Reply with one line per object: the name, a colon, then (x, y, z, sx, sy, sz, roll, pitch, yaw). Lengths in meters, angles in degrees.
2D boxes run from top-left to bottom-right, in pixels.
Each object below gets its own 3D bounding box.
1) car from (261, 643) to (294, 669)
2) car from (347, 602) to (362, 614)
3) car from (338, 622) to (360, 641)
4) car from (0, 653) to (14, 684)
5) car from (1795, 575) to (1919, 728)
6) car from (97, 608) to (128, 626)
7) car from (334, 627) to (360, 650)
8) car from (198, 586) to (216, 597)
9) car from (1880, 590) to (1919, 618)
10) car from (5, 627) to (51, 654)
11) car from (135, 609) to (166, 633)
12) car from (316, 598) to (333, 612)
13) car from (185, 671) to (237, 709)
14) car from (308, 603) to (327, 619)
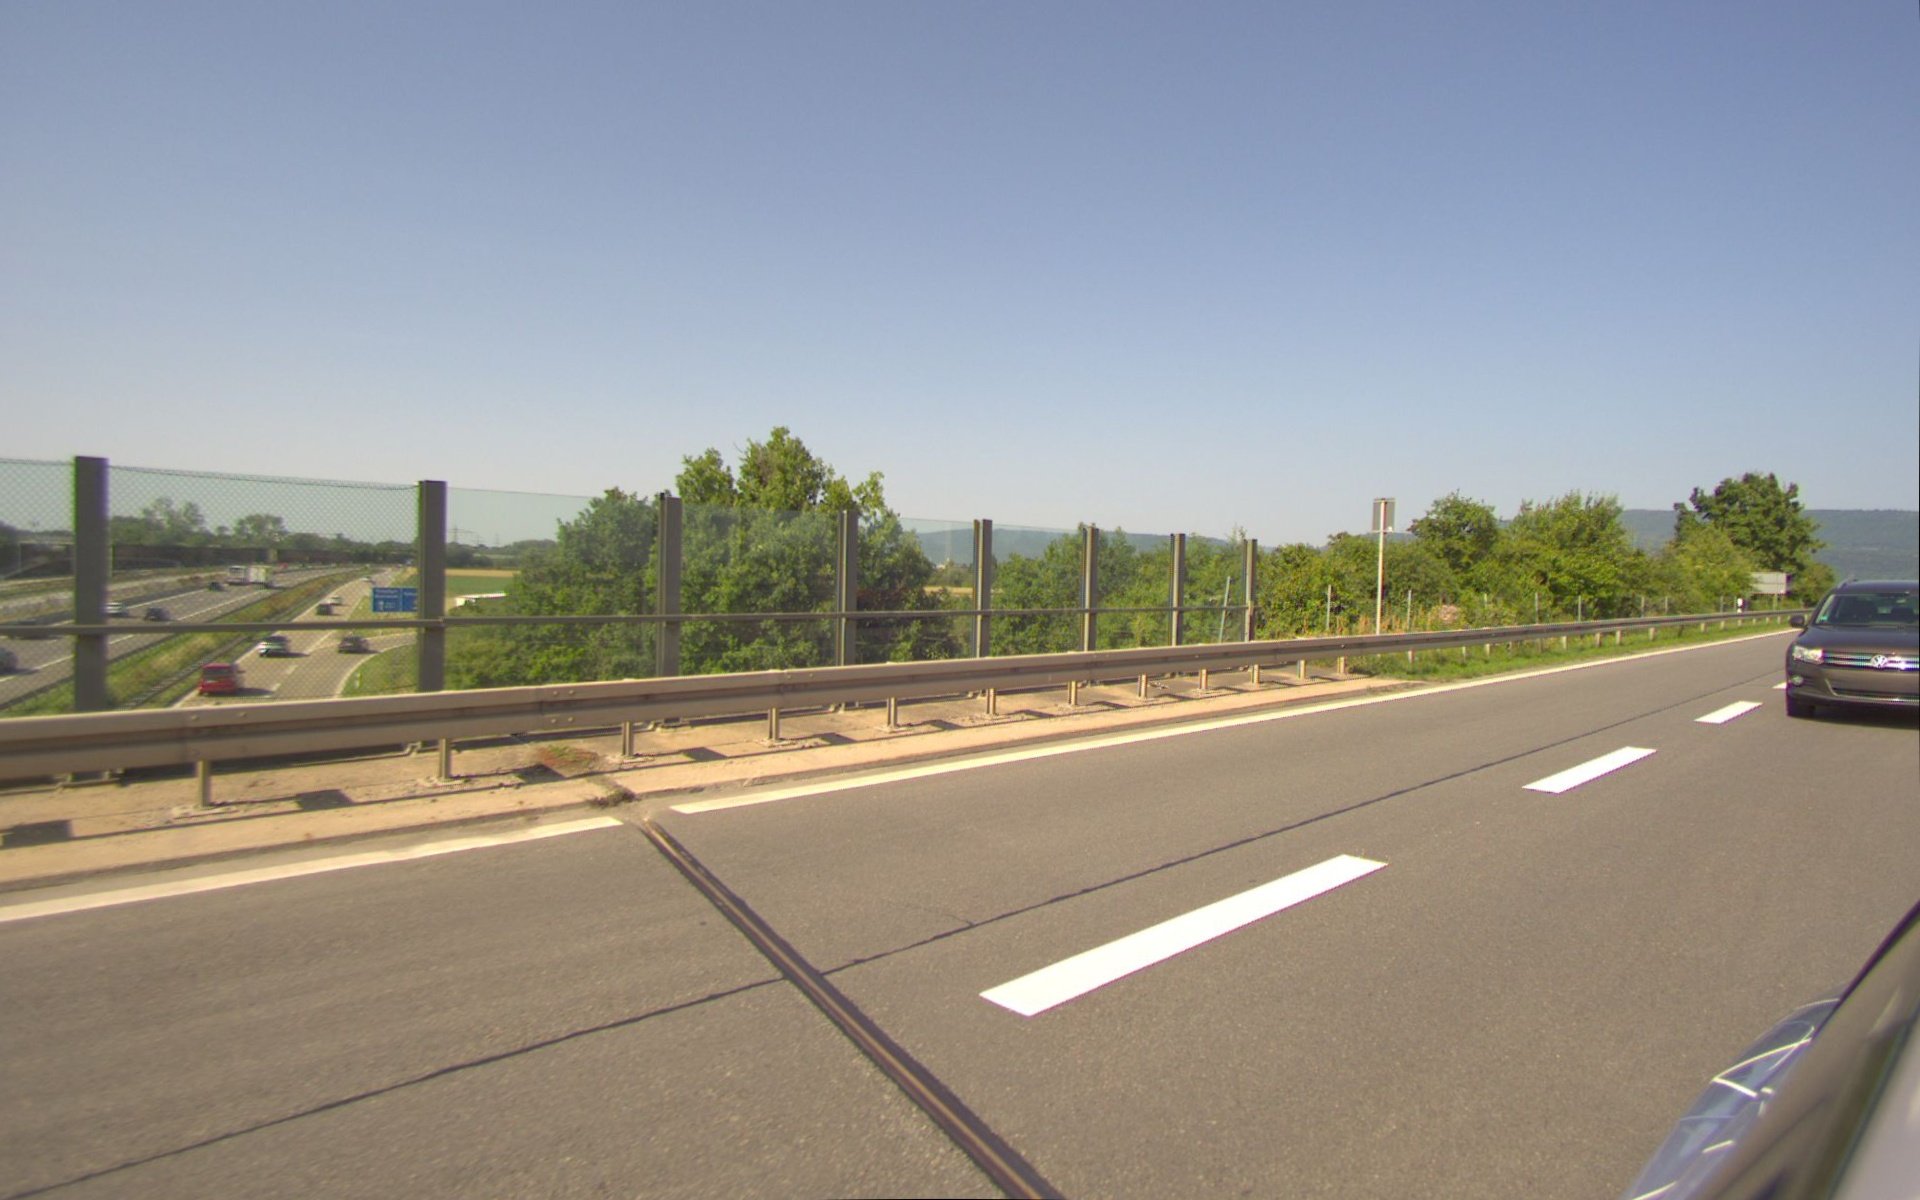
car: (-54.088, 4.426, 80.275, 1.744, 1.794, 4.006, 0, 0, -28)
car: (-88.225, 1.189, 147.567, 1.815, 1.705, 4.004, 0, 1, -30)
car: (-60.978, 3.146, 101.022, 1.815, 1.705, 4.004, 0, 1, -30)
car: (-59.696, 4.280, 61.859, 1.850, 1.671, 4.005, 0, 2, -29)
car: (11.863, 0.546, 12.530, 4.077, 1.667, 1.788, 0, 1, -42)
car: (-90.448, 1.818, 108.043, 1.841, 1.786, 4.005, 0, 0, -29)
car: (-52.377, 3.290, 86.482, 1.815, 1.705, 4.004, 0, 1, -30)
car: (-127.531, -1.431, 171.466, 1.841, 1.786, 4.005, 0, 0, -29)
car: (58.500, 0.227, 62.912, 1.859, 1.687, 3.938, 0, 0, 43)
car: (-76.025, 3.265, 82.635, 1.841, 2.037, 4.005, 0, 0, -29)
car: (-84.836, 2.182, 106.083, 1.842, 2.387, 4.722, 0, 0, -30)
car: (-96.644, 0.735, 153.952, 1.960, 2.039, 4.004, 0, 1, -30)
car: (-43.065, 5.127, 58.258, 1.841, 1.786, 4.005, 0, 0, -28)
car: (-83.369, 1.380, 131.302, 1.960, 2.039, 4.004, 0, 1, -30)
